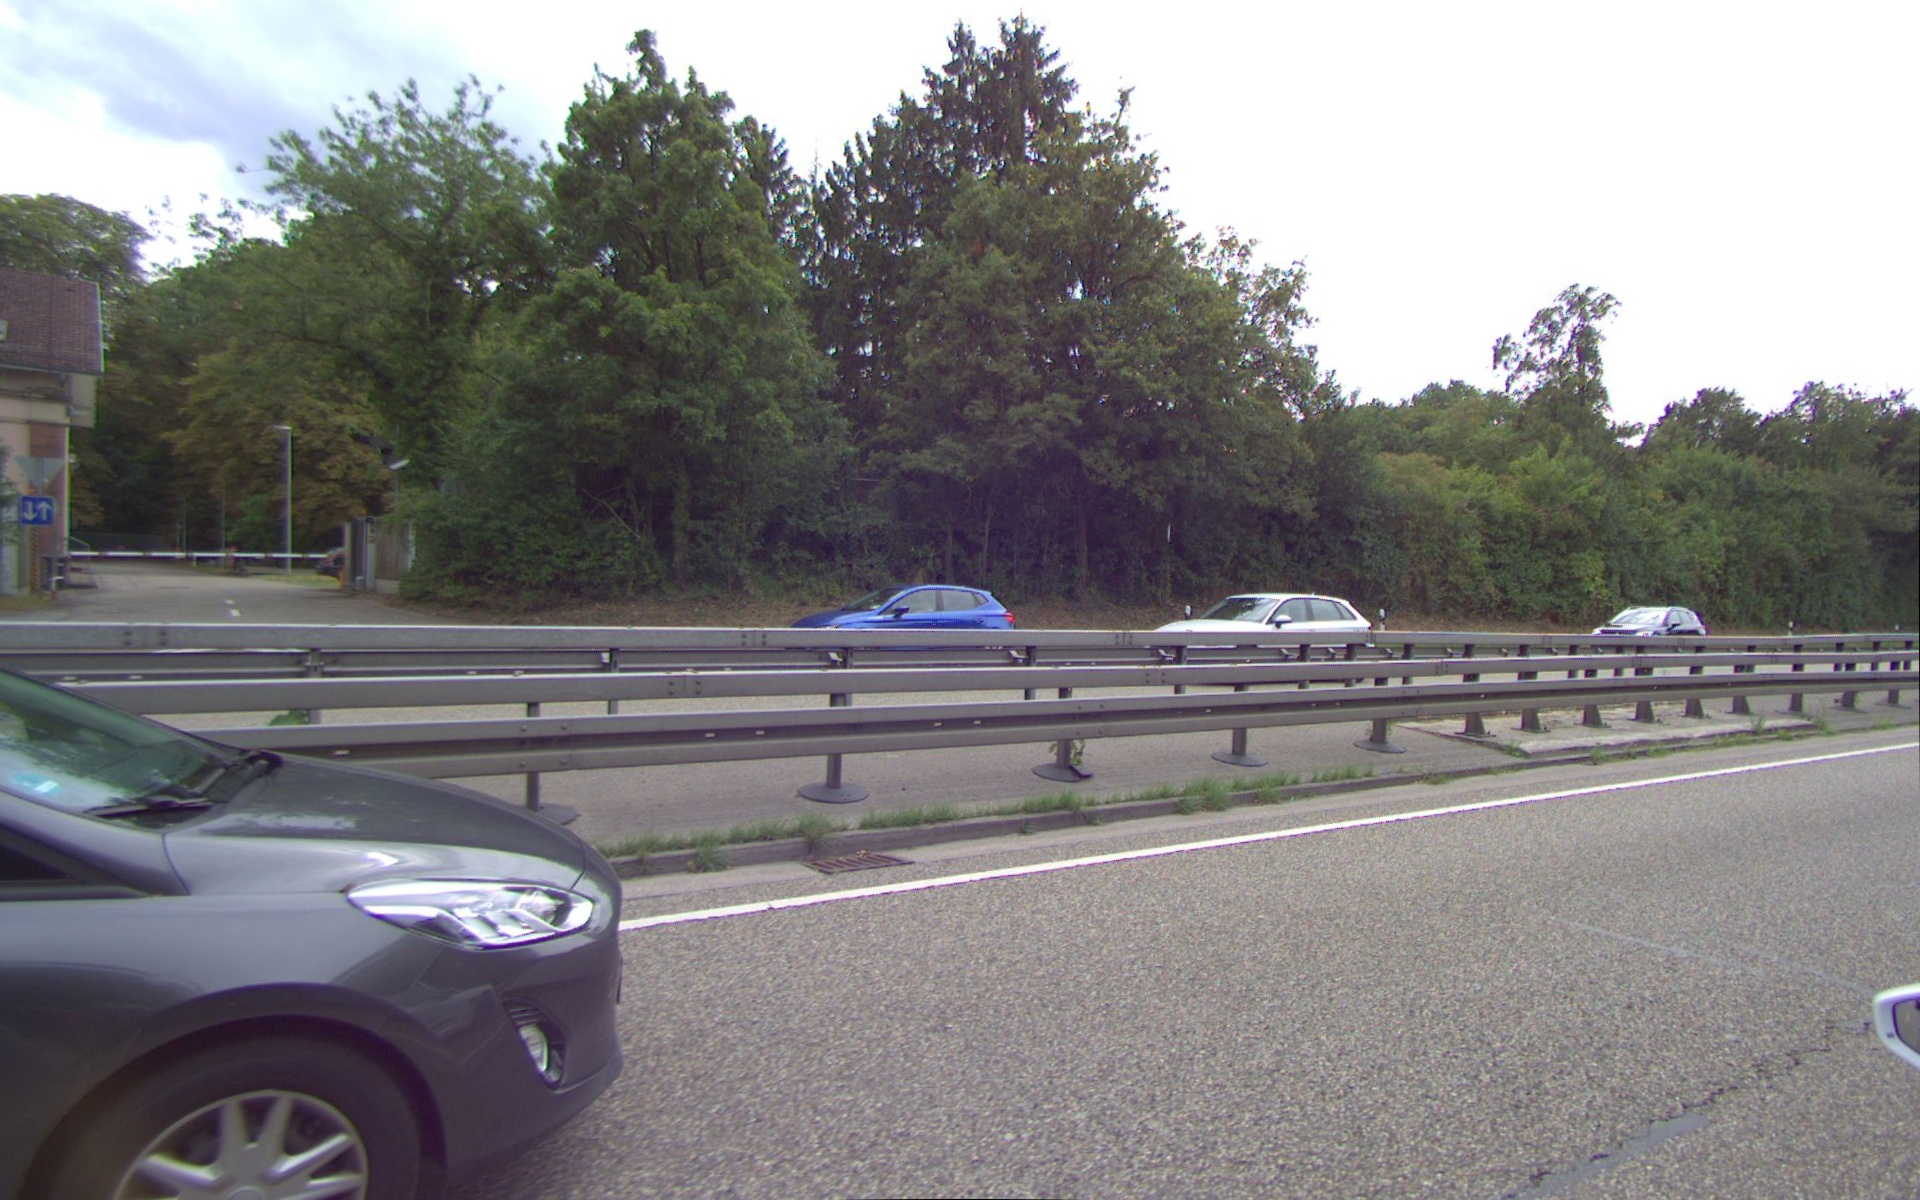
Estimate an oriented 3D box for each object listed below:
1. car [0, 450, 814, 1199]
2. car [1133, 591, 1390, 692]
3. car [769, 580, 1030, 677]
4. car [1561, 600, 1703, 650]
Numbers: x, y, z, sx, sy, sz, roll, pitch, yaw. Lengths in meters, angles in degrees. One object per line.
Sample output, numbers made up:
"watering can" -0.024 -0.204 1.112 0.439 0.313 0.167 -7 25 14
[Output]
"car" -2.785 0.462 2.005 4.584 1.477 1.818 2 -1 -30
"car" 4.890 0.664 16.149 4.011 1.446 1.703 2 -1 -31
"car" -0.987 0.490 16.991 4.011 1.469 1.802 2 -1 -31
"car" 19.525 0.728 29.159 4.024 1.317 1.967 2 -1 -33
